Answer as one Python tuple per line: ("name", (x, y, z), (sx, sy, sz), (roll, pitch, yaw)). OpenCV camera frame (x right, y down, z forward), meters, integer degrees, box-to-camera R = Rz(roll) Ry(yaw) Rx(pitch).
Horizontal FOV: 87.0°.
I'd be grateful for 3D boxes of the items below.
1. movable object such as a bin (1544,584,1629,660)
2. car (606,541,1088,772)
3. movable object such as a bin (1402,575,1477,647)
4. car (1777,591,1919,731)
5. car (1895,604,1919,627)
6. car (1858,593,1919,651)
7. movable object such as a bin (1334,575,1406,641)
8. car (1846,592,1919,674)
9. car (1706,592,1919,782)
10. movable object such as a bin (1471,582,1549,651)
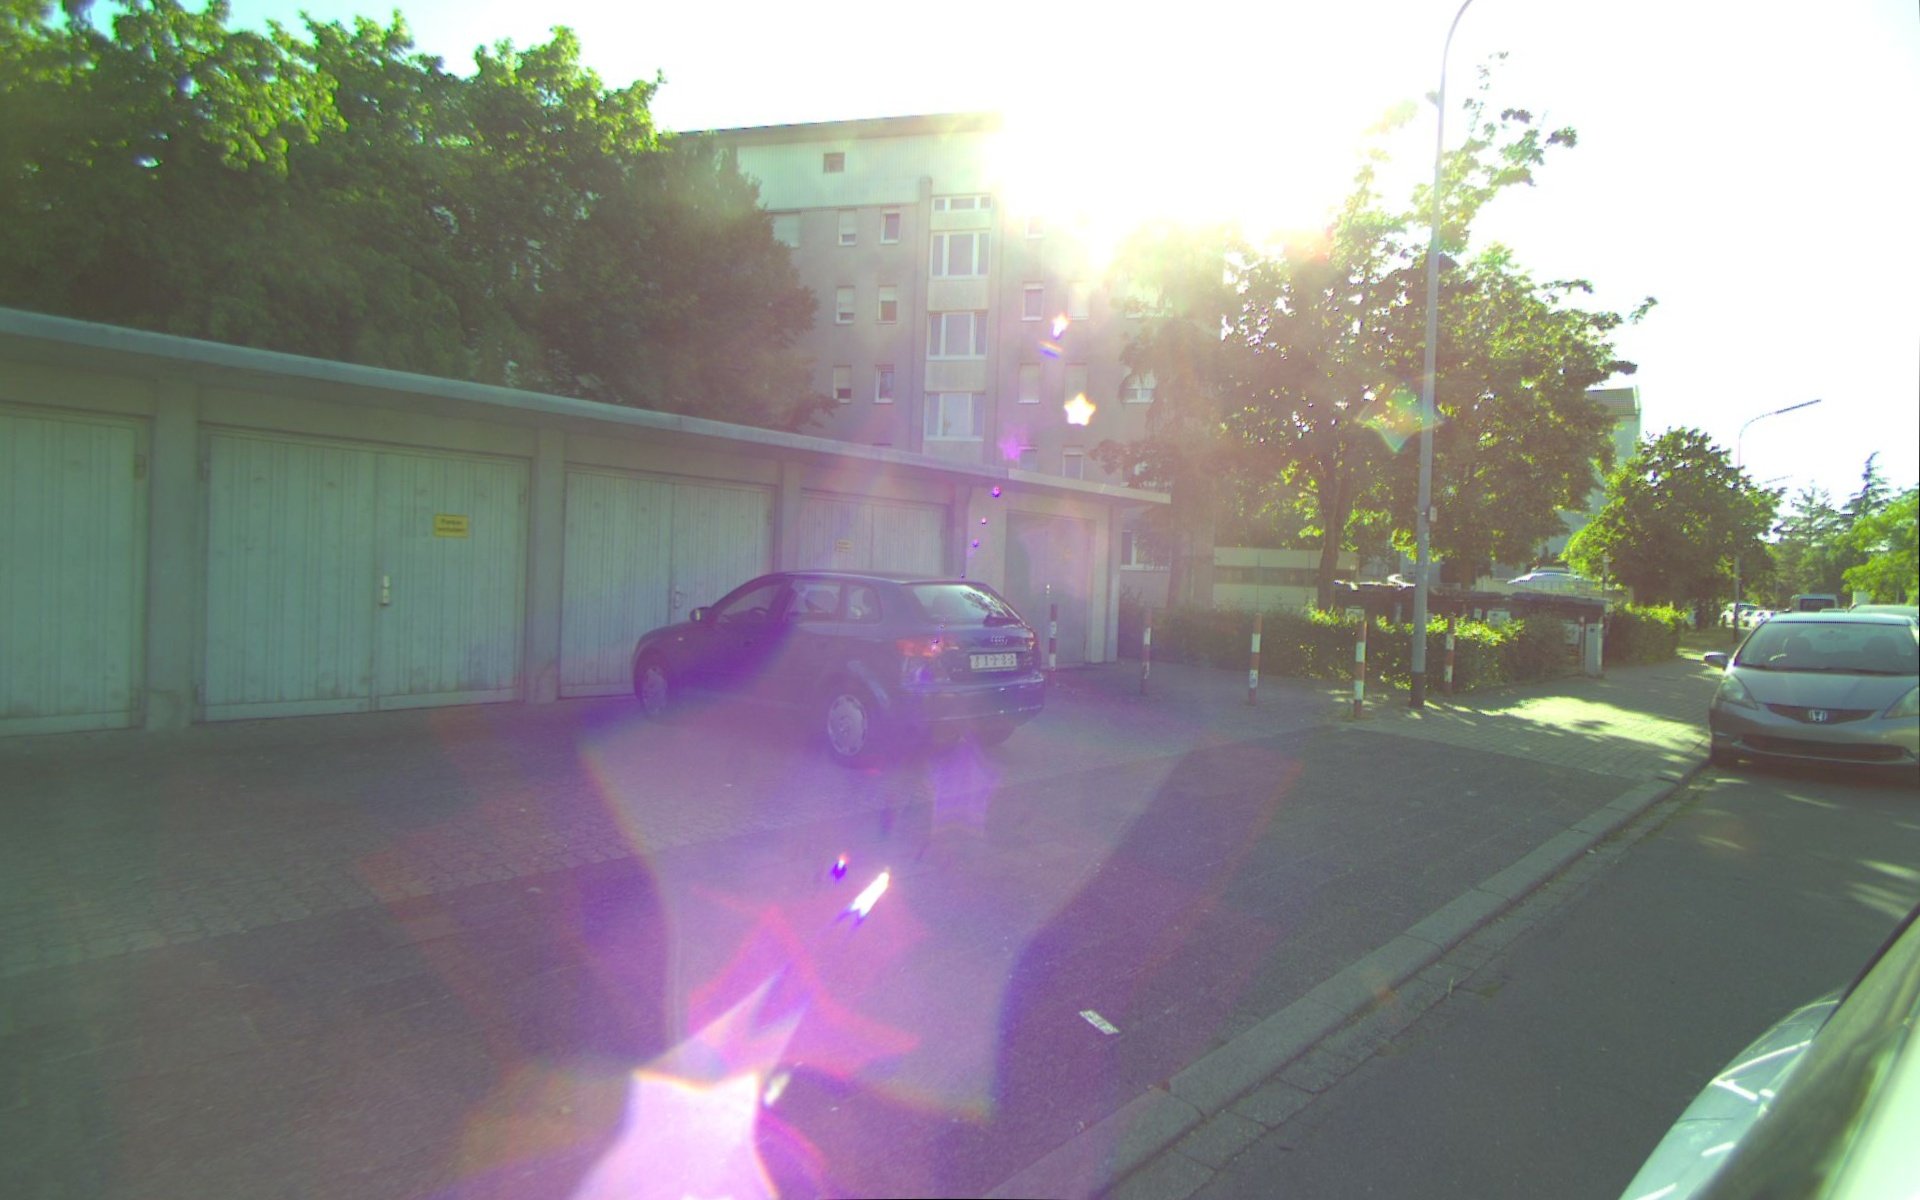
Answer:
("movable object such as a bin", (13.207, 0.442, 21.337), (1.323, 1.445, 1.055), (6, 3, 39))
("car", (-1.146, 0.304, 8.713), (4.180, 1.513, 1.790), (2, 1, 42))
("movable object such as a bin", (10.986, 0.236, 23.190), (1.322, 1.556, 1.015), (2, 1, 39))
("car", (12.361, 0.719, 13.462), (4.565, 1.565, 1.832), (1, 1, -45))
("car", (71.343, 1.145, 75.445), (1.647, 1.586, 3.647), (4, 2, 33))
("car", (29.805, 0.664, 32.139), (1.752, 1.695, 4.348), (2, 1, 40))
("movable object such as a bin", (9.783, 0.178, 24.142), (1.319, 1.499, 1.015), (2, 1, 39))
("car", (21.040, 0.700, 22.466), (4.422, 1.647, 1.755), (1, 1, -45))
("car", (8.817, 0.727, 9.965), (3.733, 1.513, 1.805), (1, 1, -45))
("movable object such as a bin", (12.103, 0.346, 22.286), (1.322, 1.449, 1.015), (2, 1, 39))
